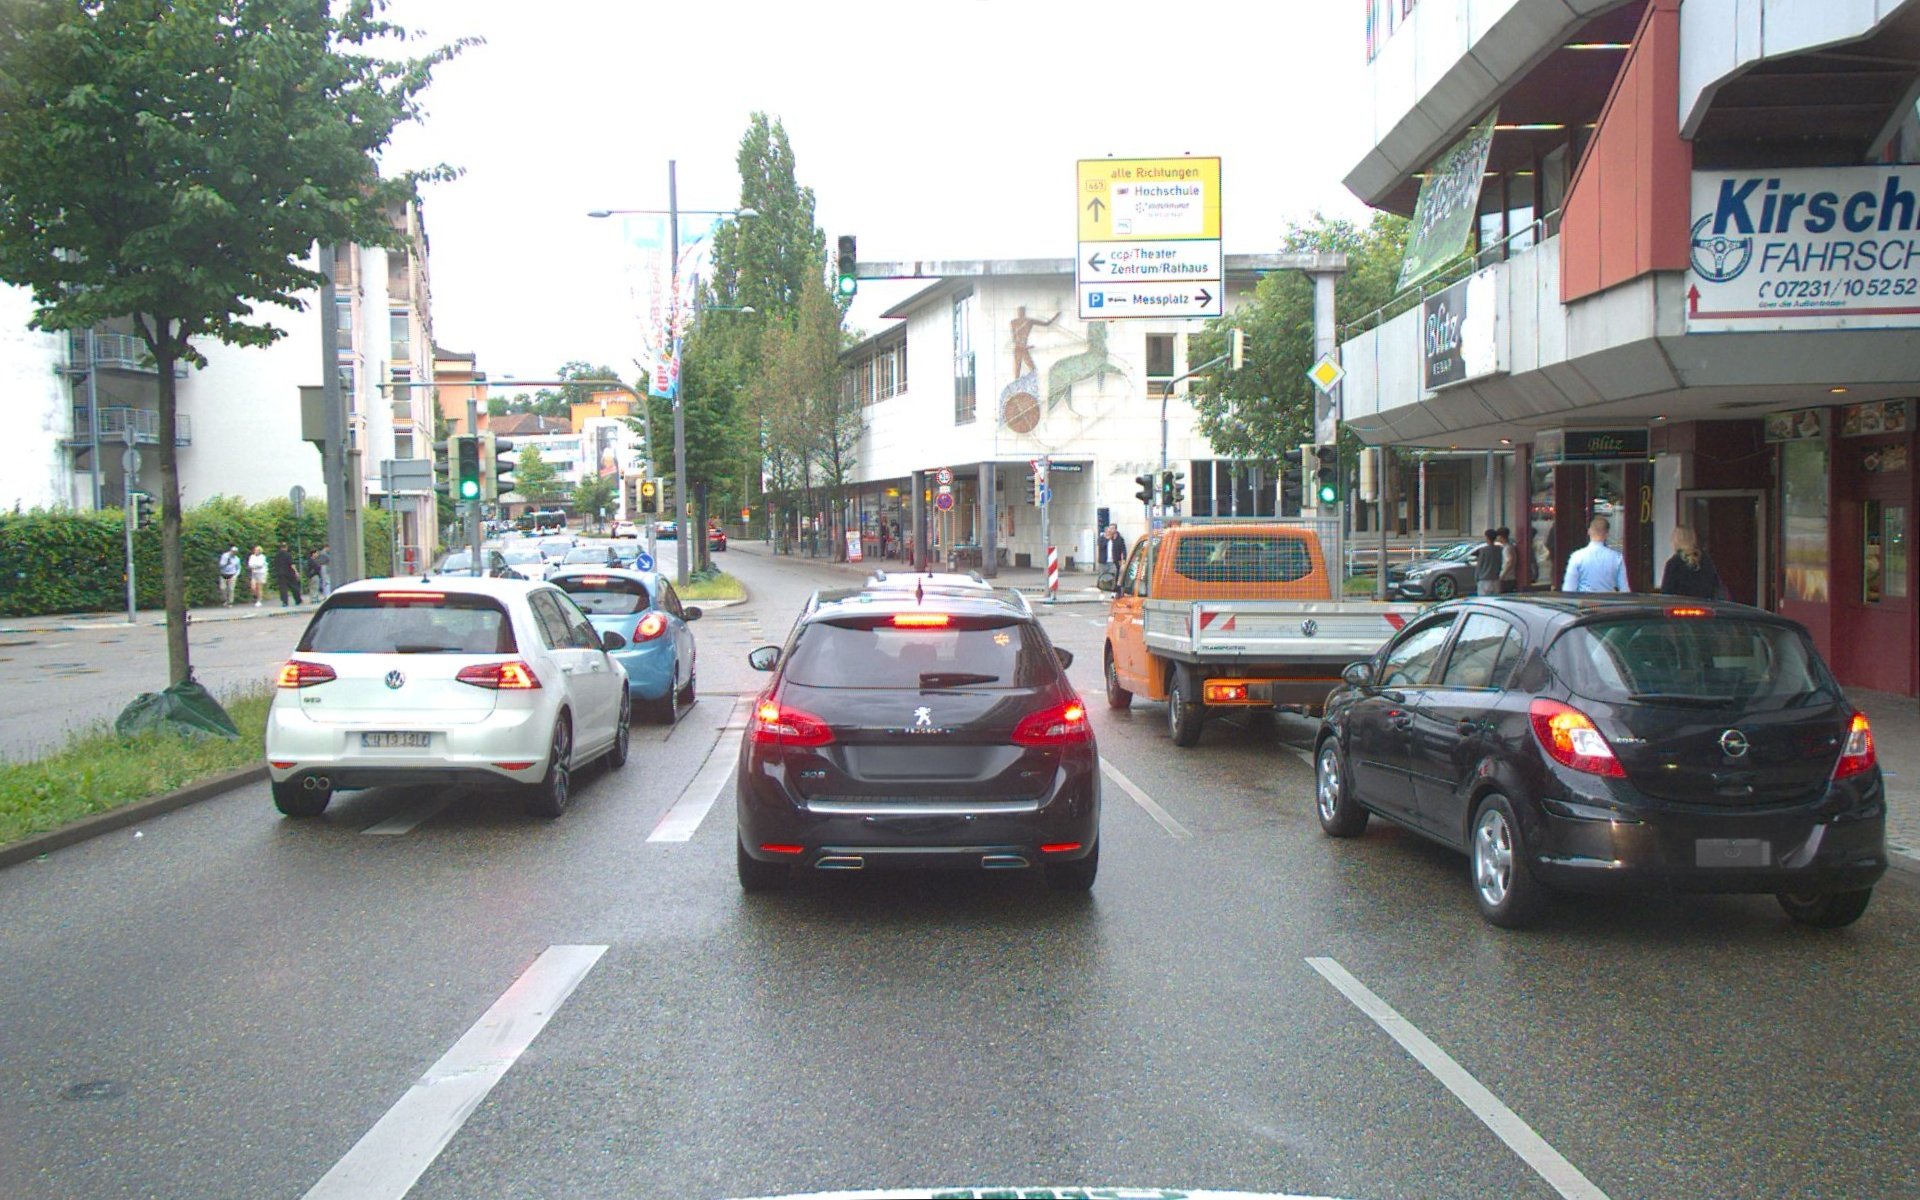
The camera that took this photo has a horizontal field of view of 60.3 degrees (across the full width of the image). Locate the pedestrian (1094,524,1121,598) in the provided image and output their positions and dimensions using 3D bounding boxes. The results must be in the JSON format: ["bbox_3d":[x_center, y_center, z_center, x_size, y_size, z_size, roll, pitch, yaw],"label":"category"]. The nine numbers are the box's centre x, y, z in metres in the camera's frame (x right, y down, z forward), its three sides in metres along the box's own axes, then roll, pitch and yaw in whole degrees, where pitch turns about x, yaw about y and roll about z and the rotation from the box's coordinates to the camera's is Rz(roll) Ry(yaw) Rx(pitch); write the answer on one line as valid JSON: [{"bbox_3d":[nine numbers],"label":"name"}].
[{"bbox_3d":[3.599,-0.946,40.328,0.623,1.788,0.734,1,-1,6],"label":"pedestrian"}]

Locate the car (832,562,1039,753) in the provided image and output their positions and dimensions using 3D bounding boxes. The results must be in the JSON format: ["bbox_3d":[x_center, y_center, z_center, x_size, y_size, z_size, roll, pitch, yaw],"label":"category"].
[{"bbox_3d":[-0.230,0.423,15.315,1.662,1.512,3.793,1,2,-1],"label":"car"}]

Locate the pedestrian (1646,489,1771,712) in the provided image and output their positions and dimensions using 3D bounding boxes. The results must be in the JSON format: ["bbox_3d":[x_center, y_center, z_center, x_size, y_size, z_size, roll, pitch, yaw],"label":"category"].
[{"bbox_3d":[6.922,0.007,15.323,0.721,1.968,0.640,-4,-1,-1],"label":"pedestrian"}]

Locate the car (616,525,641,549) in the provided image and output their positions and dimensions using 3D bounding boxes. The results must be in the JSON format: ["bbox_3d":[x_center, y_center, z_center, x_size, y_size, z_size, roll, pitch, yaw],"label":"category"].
[{"bbox_3d":[-29.213,-5.531,145.599,1.679,1.915,3.980,1,-1,-18],"label":"car"}]

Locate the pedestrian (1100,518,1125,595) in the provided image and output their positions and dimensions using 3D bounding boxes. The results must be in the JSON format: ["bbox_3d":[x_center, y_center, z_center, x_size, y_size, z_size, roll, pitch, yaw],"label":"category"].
[{"bbox_3d":[3.895,-1.100,42.171,0.623,1.930,0.734,1,-1,6],"label":"pedestrian"}]

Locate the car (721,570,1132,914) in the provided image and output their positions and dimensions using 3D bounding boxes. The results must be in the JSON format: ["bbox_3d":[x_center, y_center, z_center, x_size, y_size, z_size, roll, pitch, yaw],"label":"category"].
[{"bbox_3d":[-0.146,0.576,8.991,1.741,1.454,3.842,1,1,0],"label":"car"}]

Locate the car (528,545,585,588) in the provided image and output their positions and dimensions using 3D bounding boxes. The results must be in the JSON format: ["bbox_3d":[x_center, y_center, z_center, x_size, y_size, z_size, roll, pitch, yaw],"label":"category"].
[{"bbox_3d":[-14.824,-1.258,60.931,1.602,1.512,3.605,1,2,-7],"label":"car"}]

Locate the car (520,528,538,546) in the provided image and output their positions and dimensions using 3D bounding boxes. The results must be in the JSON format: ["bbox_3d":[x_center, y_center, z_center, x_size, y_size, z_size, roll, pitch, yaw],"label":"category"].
[{"bbox_3d":[-56.726,-8.303,217.695,1.964,2.049,3.976,1,-1,-20],"label":"car"}]

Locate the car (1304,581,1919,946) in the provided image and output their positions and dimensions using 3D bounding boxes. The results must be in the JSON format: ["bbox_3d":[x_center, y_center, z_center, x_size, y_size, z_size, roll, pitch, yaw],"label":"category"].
[{"bbox_3d":[3.108,0.649,8.670,1.584,1.454,3.839,1,1,-4],"label":"car"}]

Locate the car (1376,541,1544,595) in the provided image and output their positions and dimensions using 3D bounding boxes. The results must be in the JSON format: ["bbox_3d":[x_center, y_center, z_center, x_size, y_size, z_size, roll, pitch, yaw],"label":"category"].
[{"bbox_3d":[12.199,-0.767,40.495,3.610,1.233,1.836,1,-1,3],"label":"car"}]

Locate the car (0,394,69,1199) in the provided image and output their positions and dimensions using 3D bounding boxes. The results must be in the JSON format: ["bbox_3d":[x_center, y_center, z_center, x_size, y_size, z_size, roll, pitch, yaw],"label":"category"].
[{"bbox_3d":[-3.022,0.448,1.413,1.873,1.903,5.071,1,-1,-2],"label":"car"}]

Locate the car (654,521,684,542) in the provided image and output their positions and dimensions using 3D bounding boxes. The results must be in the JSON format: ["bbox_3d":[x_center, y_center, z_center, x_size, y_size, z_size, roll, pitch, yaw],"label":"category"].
[{"bbox_3d":[-24.602,-5.742,139.690,1.699,1.516,4.705,1,-1,-20],"label":"car"}]

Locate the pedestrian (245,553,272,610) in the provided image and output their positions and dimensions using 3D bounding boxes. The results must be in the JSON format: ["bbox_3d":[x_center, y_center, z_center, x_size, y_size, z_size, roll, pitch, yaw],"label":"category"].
[{"bbox_3d":[-20.135,-0.519,47.488,0.569,1.627,0.526,1,-1,-7],"label":"pedestrian"}]

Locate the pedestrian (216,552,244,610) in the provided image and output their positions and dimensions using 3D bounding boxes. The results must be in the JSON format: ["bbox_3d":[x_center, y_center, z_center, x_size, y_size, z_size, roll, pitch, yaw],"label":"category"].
[{"bbox_3d":[-20.634,-0.526,46.749,0.569,1.627,0.526,1,-1,-7],"label":"pedestrian"}]

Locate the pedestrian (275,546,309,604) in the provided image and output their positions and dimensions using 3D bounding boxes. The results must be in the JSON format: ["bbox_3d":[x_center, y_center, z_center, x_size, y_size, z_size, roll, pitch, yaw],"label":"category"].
[{"bbox_3d":[-19.402,-0.724,48.062,0.624,1.671,0.734,1,-1,2],"label":"pedestrian"}]

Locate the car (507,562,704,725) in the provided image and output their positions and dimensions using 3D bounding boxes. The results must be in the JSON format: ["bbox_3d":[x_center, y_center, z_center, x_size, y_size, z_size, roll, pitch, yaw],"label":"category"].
[{"bbox_3d":[-3.624,0.376,17.427,1.601,1.512,3.606,1,2,-6],"label":"car"}]

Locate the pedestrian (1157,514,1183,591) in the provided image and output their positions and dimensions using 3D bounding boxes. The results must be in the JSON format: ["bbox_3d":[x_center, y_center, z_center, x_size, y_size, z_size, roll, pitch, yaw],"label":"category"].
[{"bbox_3d":[5.332,-1.198,41.953,0.623,1.930,0.734,1,-1,6],"label":"pedestrian"}]

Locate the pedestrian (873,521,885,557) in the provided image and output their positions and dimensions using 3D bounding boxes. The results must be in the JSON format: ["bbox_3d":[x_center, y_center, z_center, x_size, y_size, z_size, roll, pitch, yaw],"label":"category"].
[{"bbox_3d":[-4.056,-3.054,82.746,0.461,1.778,0.537,1,-1,-21],"label":"pedestrian"}]

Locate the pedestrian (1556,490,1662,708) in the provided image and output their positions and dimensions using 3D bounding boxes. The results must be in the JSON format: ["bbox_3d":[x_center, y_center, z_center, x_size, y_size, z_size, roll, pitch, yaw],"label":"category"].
[{"bbox_3d":[5.991,-0.004,15.297,0.721,1.968,0.640,1,-1,-1],"label":"pedestrian"}]

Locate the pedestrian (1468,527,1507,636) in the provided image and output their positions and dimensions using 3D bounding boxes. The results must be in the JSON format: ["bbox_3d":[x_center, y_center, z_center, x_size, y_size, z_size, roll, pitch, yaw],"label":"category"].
[{"bbox_3d":[8.403,-0.294,26.361,0.417,1.712,0.450,-1,-1,-2],"label":"pedestrian"}]

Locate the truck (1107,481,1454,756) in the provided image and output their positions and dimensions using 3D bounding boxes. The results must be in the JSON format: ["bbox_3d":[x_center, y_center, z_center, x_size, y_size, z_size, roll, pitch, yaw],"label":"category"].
[{"bbox_3d":[2.833,0.087,15.961,2.133,2.210,5.018,1,2,-3],"label":"truck"}]

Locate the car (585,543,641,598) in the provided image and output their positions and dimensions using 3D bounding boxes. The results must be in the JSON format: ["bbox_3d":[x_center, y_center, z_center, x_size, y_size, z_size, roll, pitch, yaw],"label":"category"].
[{"bbox_3d":[-11.400,-0.925,54.497,1.713,1.669,3.989,1,-1,-11],"label":"car"}]

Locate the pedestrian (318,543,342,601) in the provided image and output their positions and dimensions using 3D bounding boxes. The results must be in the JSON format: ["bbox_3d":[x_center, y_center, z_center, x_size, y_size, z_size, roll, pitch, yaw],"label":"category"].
[{"bbox_3d":[-19.566,-0.880,51.385,0.528,1.778,0.564,1,-1,-6],"label":"pedestrian"}]

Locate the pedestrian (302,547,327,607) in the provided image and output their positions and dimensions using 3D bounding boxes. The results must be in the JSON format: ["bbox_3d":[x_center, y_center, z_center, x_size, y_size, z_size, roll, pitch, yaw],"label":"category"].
[{"bbox_3d":[-19.404,-0.677,49.748,0.529,1.778,0.746,1,-1,-9],"label":"pedestrian"}]

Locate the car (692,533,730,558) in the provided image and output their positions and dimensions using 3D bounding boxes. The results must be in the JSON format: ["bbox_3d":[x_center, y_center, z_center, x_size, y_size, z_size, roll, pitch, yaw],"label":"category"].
[{"bbox_3d":[-16.372,-3.588,108.668,1.759,1.479,4.486,-3,3,-17],"label":"car"}]

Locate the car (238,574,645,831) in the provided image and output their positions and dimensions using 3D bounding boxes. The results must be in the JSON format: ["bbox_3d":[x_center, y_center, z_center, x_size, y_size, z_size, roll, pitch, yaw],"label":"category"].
[{"bbox_3d":[-3.334,0.563,11.401,1.742,1.454,3.840,1,1,-3],"label":"car"}]

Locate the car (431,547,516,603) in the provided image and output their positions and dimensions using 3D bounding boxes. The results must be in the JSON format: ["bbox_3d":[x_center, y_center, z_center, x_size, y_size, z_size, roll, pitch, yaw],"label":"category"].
[{"bbox_3d":[-13.700,-0.721,46.769,1.543,1.512,3.607,1,2,-4],"label":"car"}]

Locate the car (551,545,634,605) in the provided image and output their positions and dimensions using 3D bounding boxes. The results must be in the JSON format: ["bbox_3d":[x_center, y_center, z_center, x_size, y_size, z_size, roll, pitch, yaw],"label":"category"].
[{"bbox_3d":[-10.564,-0.680,47.772,1.710,1.607,3.996,1,-1,-4],"label":"car"}]

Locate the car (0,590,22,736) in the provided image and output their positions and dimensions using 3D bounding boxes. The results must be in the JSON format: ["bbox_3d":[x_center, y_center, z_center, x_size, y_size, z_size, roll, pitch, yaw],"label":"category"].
[{"bbox_3d":[-10.825,0.641,15.450,1.598,1.494,3.755,-3,-2,8],"label":"car"}]

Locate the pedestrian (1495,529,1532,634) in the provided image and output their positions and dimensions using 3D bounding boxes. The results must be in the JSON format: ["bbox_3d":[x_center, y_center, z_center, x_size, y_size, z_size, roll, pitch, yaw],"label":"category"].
[{"bbox_3d":[8.946,-0.292,26.732,0.388,1.668,0.504,-1,-1,0],"label":"pedestrian"}]

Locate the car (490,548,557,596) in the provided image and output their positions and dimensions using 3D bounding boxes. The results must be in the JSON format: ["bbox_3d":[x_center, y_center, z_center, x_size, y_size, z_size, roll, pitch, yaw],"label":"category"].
[{"bbox_3d":[-14.174,-0.926,53.857,1.602,1.512,3.605,1,2,-7],"label":"car"}]
